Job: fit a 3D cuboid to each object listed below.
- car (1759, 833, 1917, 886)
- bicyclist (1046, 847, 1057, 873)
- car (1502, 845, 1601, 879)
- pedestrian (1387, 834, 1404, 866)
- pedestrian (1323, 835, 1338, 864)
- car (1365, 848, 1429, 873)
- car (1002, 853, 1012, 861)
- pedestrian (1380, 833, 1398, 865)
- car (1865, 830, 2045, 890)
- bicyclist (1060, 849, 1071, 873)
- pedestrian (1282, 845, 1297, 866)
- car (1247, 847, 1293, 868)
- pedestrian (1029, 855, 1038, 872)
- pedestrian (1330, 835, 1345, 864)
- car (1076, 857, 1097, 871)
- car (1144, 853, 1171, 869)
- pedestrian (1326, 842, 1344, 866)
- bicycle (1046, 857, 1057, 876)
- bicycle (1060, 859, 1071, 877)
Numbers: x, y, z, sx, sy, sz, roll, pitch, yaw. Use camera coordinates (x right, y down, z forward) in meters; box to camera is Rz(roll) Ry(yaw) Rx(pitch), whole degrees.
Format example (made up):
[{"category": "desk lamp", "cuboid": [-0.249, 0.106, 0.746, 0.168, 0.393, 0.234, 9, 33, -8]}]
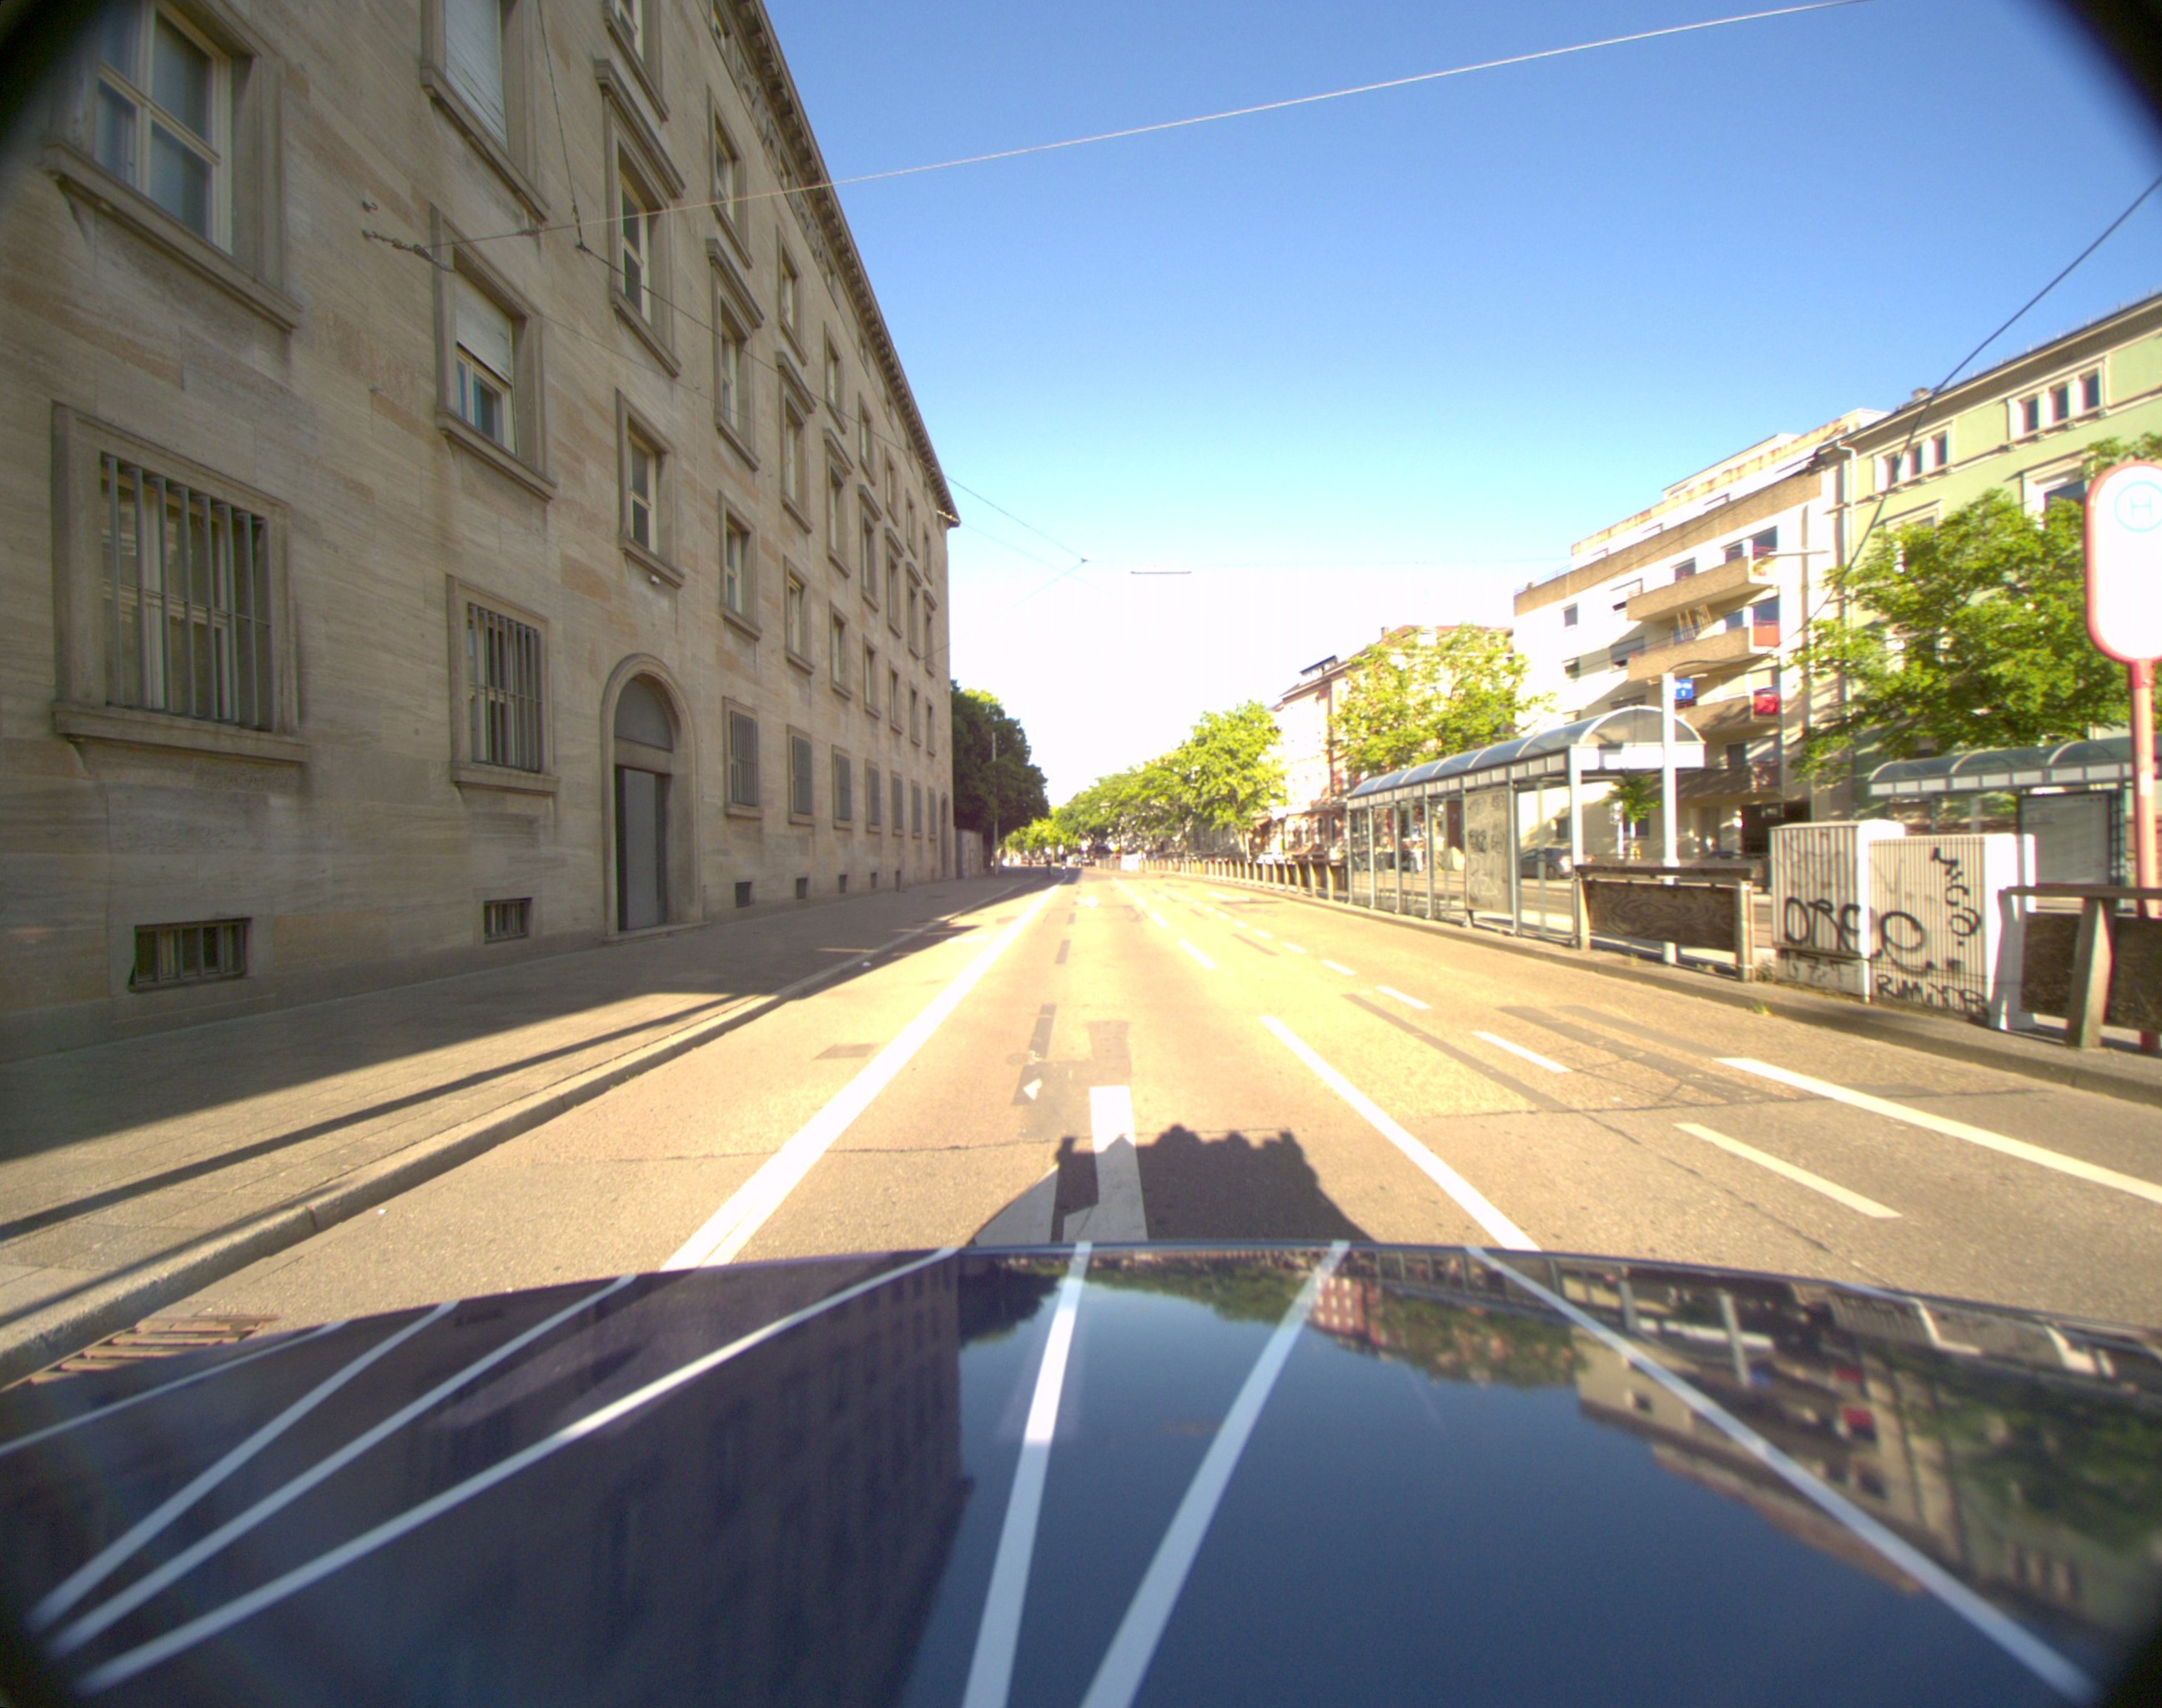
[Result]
[{"category": "car", "cuboid": [24.071, 0.150, 24.192, 4.002, 1.573, 1.761, -1, 0, -14]}, {"category": "bicyclist", "cuboid": [-2.010, 0.422, 51.749, 0.625, 1.729, 0.688, -3, 1, 1]}, {"category": "car", "cuboid": [20.933, 0.344, 33.960, 1.654, 1.419, 3.737, -1, 0, -11]}, {"category": "pedestrian", "cuboid": [21.282, -0.269, 51.427, 0.813, 2.194, 0.756, -1, 1, -10]}, {"category": "pedestrian", "cuboid": [19.442, -0.338, 59.206, 0.812, 2.194, 0.756, -1, 1, -4]}, {"category": "car", "cuboid": [18.470, 0.353, 44.650, 1.609, 1.388, 3.997, -1, 0, -9]}, {"category": "car", "cuboid": [-14.453, 0.543, 147.617, 1.772, 1.429, 3.831, -1, 0, -7]}, {"category": "pedestrian", "cuboid": [21.224, -0.330, 52.371, 0.813, 2.194, 0.756, -1, 1, -10]}, {"category": "car", "cuboid": [24.870, 0.148, 21.651, 4.002, 1.573, 1.761, -1, 0, -14]}, {"category": "bicyclist", "cuboid": [-1.026, 0.458, 51.030, 0.728, 1.570, 0.775, 1, 1, 1]}, {"category": "pedestrian", "cuboid": [16.476, 0.115, 60.025, 0.868, 1.619, 0.891, -1, 1, -3]}, {"category": "car", "cuboid": [15.902, 0.251, 63.757, 4.134, 1.698, 1.848, -1, 1, -45]}, {"category": "pedestrian", "cuboid": [-3.680, 0.757, 58.884, 0.548, 1.327, 0.587, -1, 1, 7]}, {"category": "pedestrian", "cuboid": [19.494, -0.323, 57.778, 0.813, 2.194, 0.756, -1, 1, -10]}, {"category": "car", "cuboid": [0.783, 1.306, 104.185, 2.001, 1.789, 3.995, -1, 0, -13]}, {"category": "car", "cuboid": [7.214, 0.651, 71.815, 1.648, 1.480, 3.997, -1, 0, -7]}, {"category": "pedestrian", "cuboid": [18.519, -0.018, 55.343, 0.855, 1.710, 1.019, -1, 1, -8]}, {"category": "bicycle", "cuboid": [-1.986, 0.872, 51.650, 0.625, 1.214, 1.659, -3, 1, 1]}, {"category": "bicycle", "cuboid": [-1.031, 0.920, 51.056, 0.625, 1.167, 1.566, 1, 0, 1]}]
